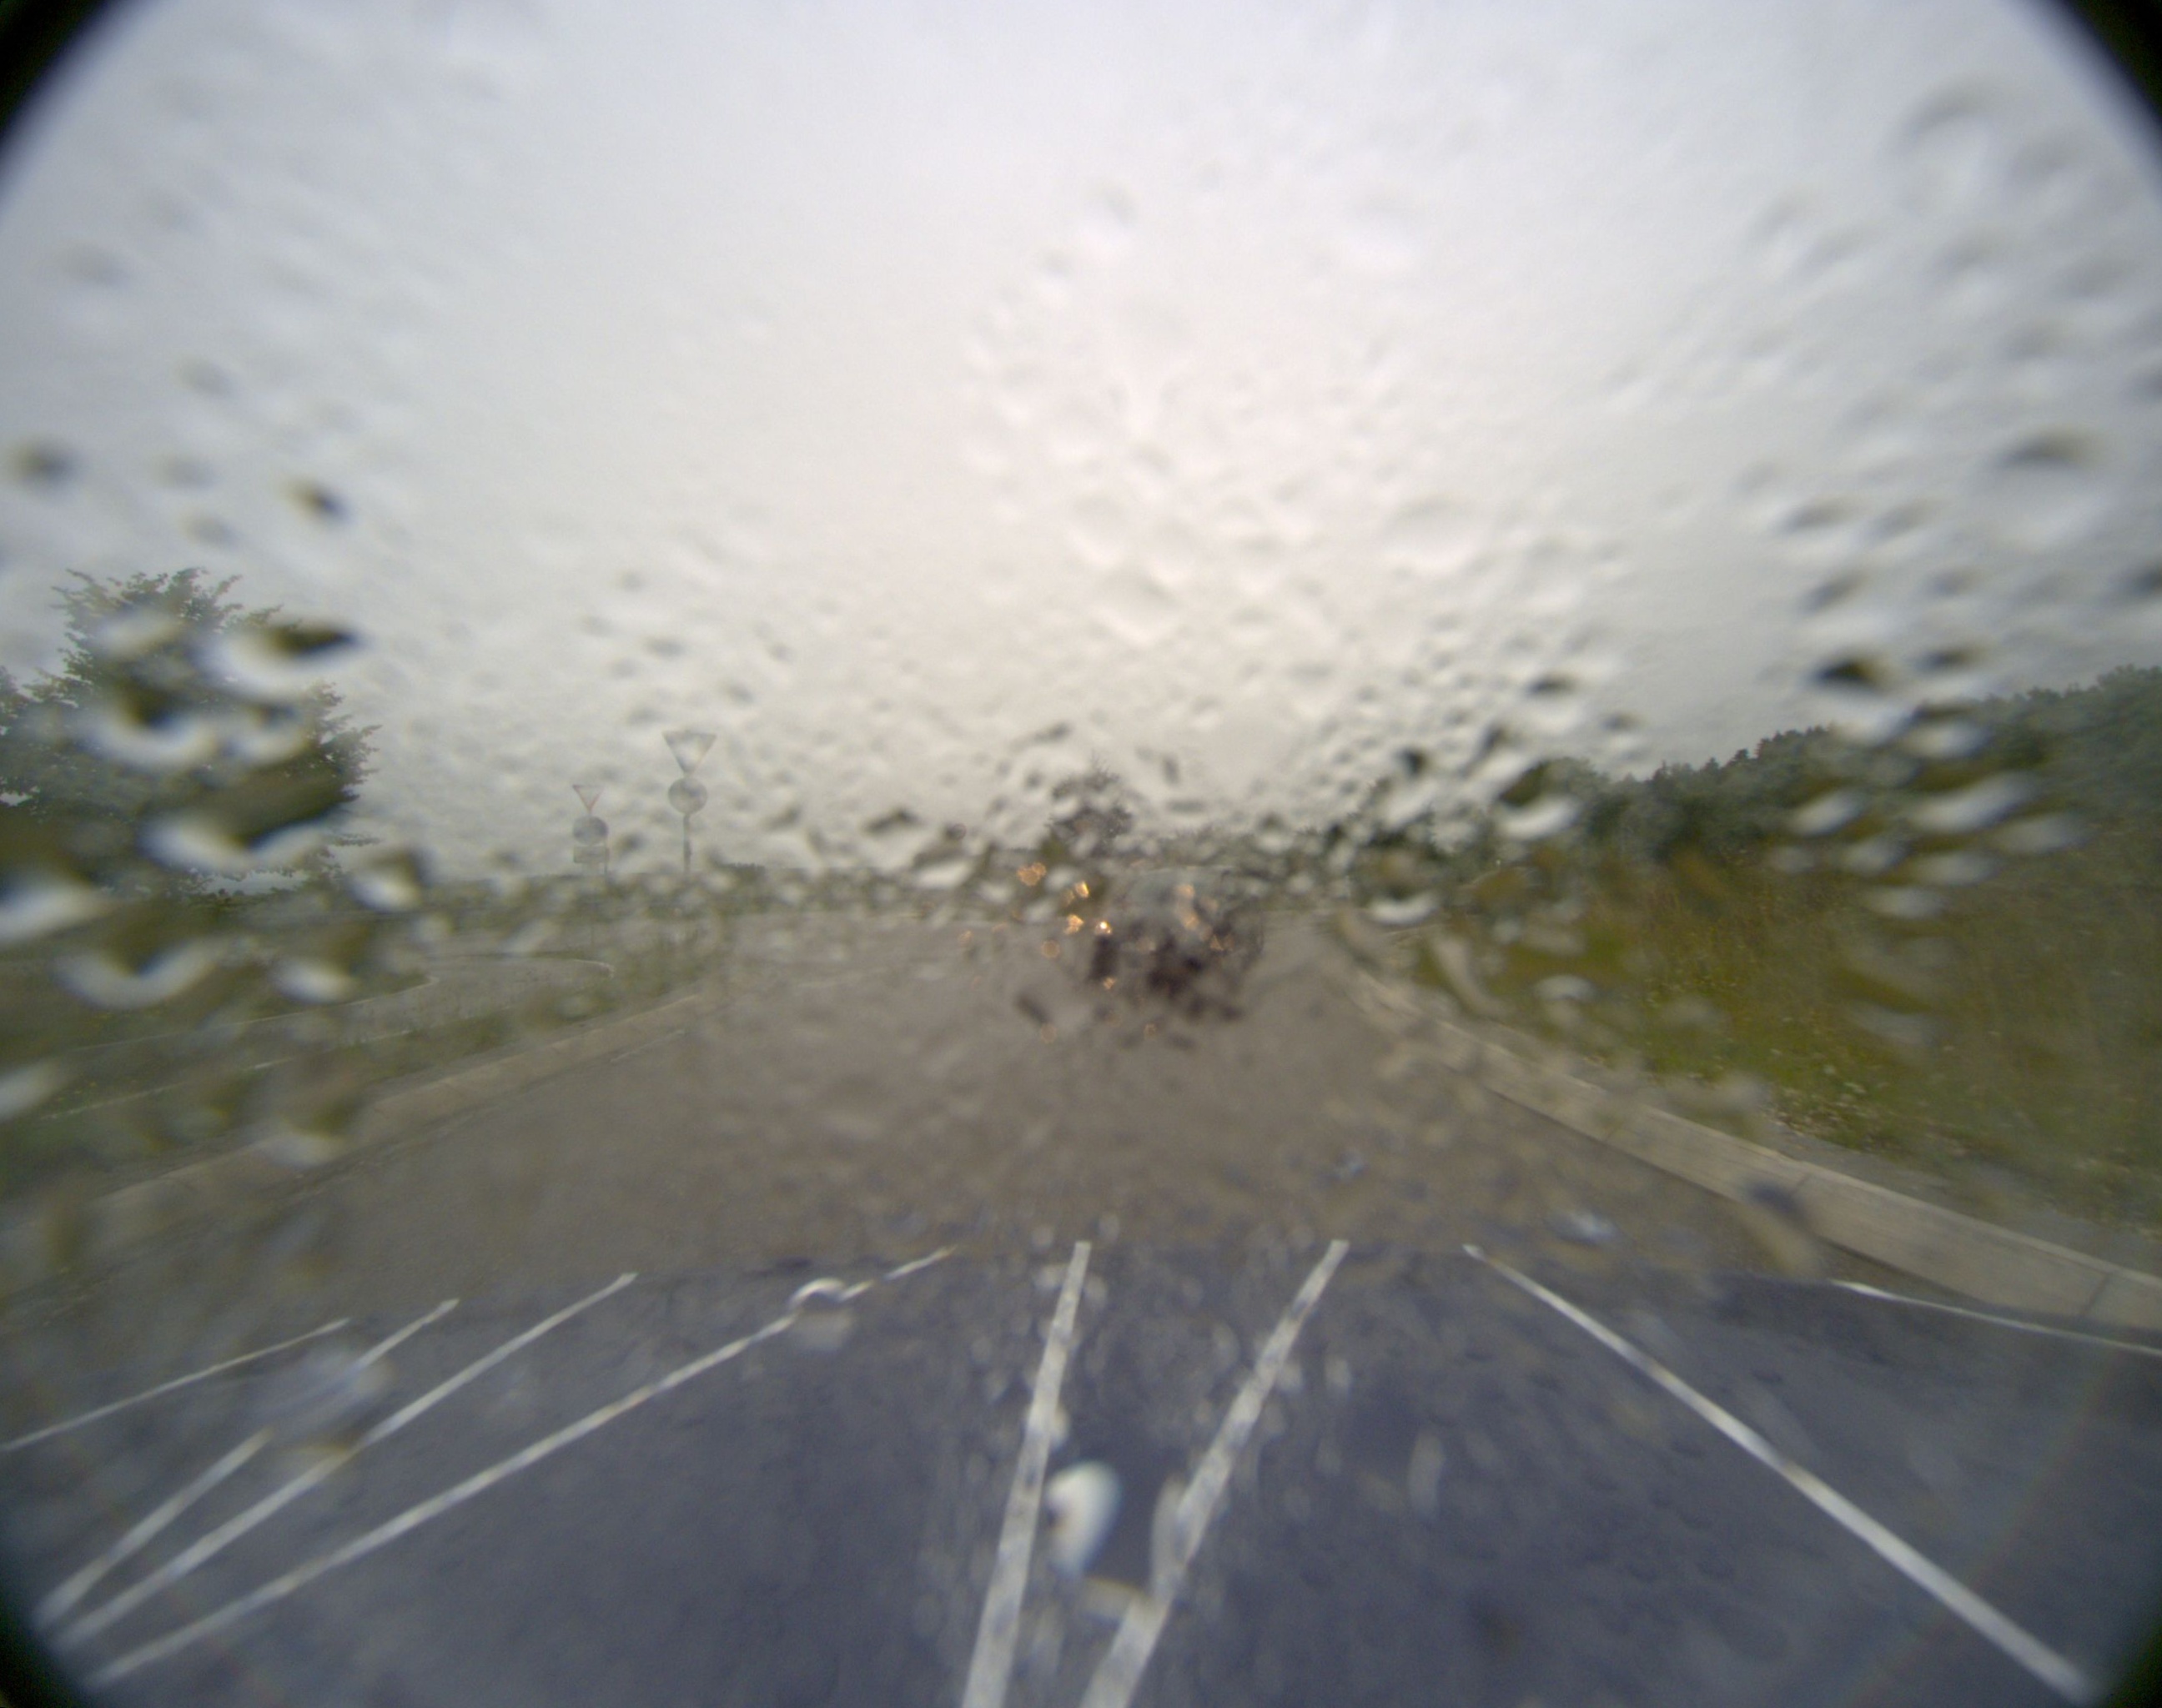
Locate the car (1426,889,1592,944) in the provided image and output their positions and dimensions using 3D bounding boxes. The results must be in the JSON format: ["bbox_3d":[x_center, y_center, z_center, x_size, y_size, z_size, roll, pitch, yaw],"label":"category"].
[{"bbox_3d":[12.221,1.726,21.673,4.511,1.363,1.946,2,-1,-27],"label":"car"}]

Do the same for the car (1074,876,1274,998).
[{"bbox_3d":[1.634,1.059,11.483,1.870,1.412,4.512,0,-1,22],"label":"car"}]
